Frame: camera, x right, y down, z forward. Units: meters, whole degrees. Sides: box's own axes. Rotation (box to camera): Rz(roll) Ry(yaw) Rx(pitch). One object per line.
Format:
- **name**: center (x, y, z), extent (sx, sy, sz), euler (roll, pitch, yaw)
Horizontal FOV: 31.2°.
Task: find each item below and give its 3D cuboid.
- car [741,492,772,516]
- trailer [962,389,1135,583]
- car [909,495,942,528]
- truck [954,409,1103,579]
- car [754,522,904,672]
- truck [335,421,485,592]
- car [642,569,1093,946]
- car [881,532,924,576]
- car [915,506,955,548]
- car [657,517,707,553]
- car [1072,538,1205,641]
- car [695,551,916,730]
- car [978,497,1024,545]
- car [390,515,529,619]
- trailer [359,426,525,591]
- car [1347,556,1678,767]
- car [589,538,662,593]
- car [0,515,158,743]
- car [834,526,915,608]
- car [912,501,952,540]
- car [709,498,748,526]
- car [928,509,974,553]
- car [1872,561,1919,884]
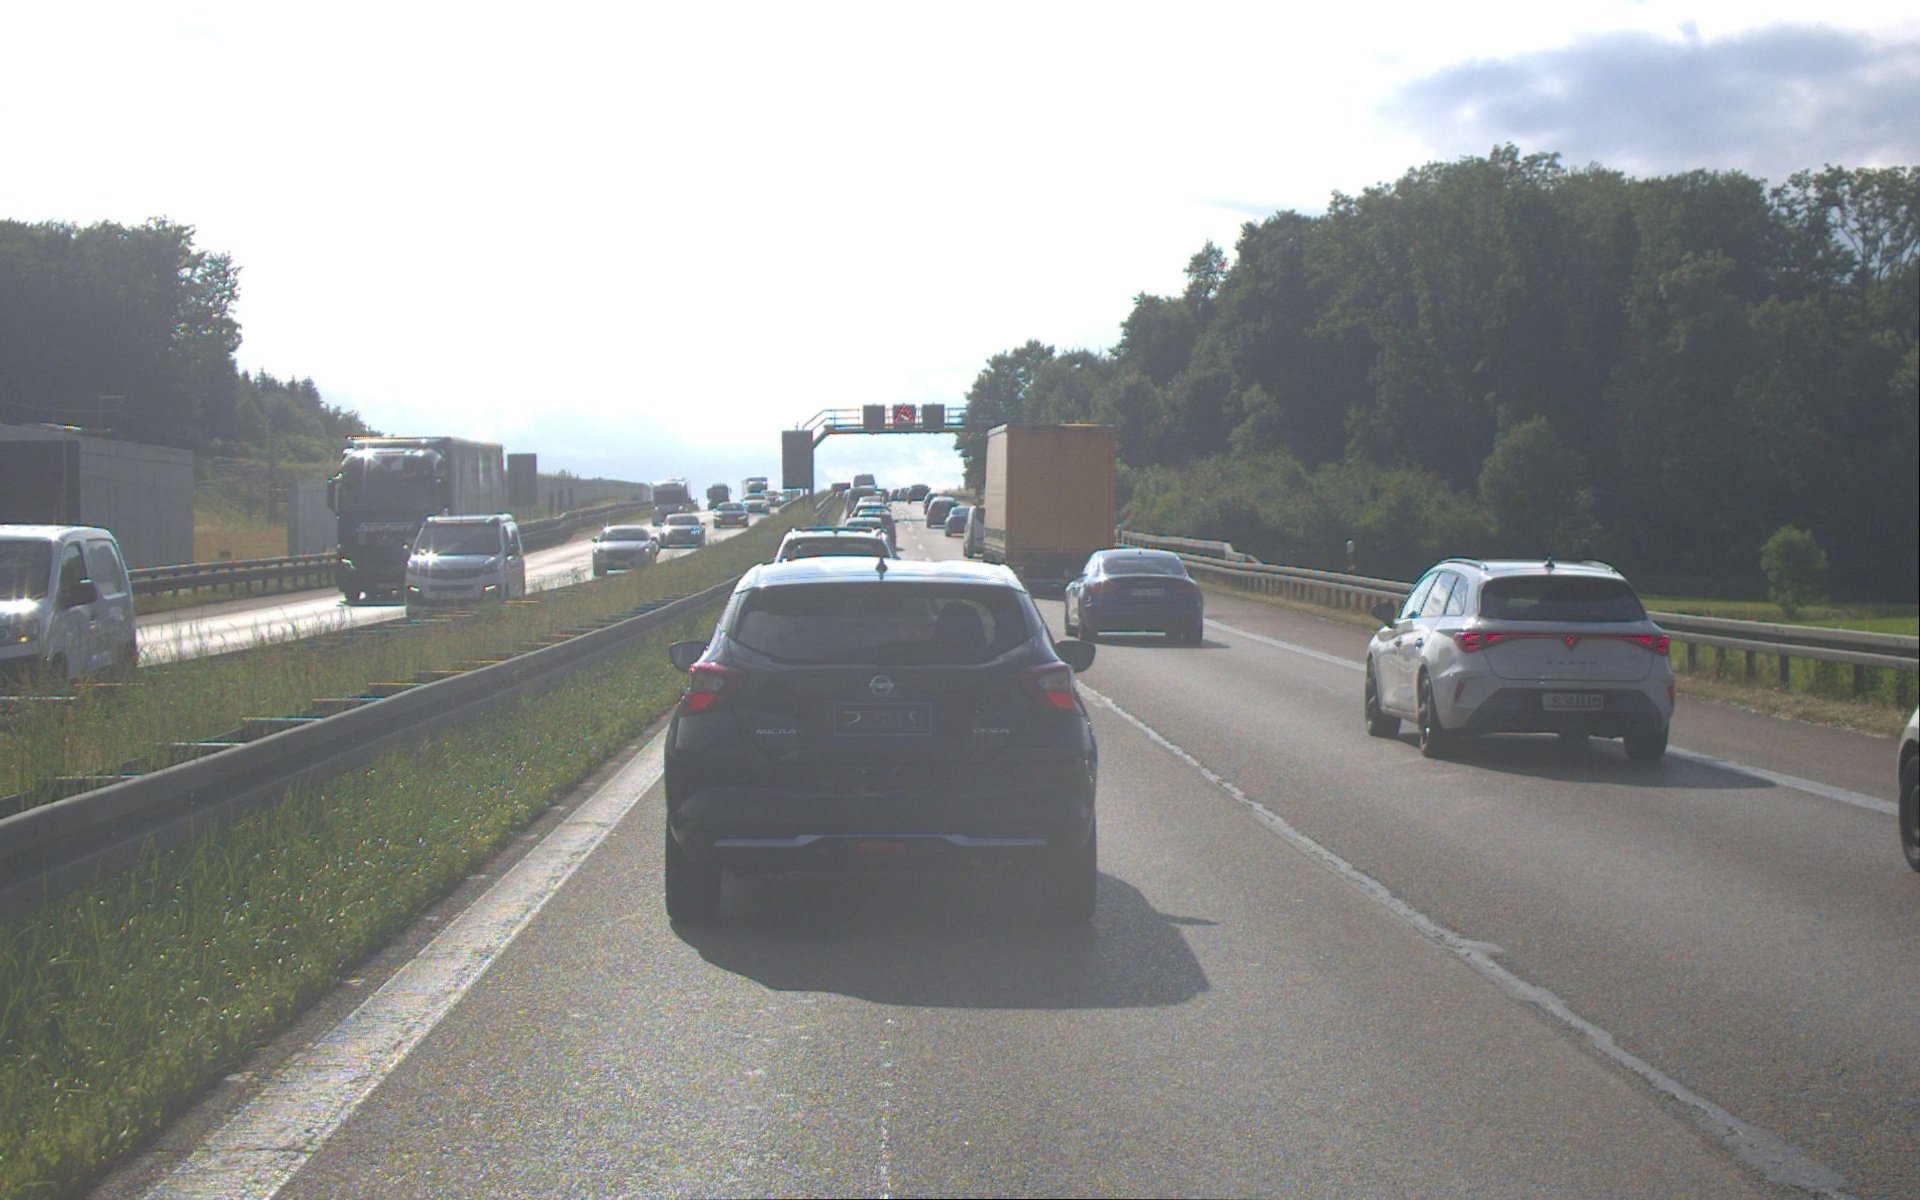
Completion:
- **car**: center (-14.170, -6.680, 239.692), extent (1.993, 1.587, 4.449), euler (1, 0, -2)
- **trailer**: center (2.059, -2.692, 86.137), extent (3.548, 4.442, 12.723), euler (1, 0, -2)
- **car**: center (-2.227, -5.715, 221.505), extent (1.993, 2.007, 4.000), euler (1, 0, -2)
- **truck**: center (1.790, -2.774, 92.869), extent (3.581, 4.365, 6.689), euler (1, 0, -2)
- **car**: center (-1.546, -0.046, 41.599), extent (1.674, 1.720, 3.596), euler (1, 0, 0)
- **truck**: center (-13.624, -2.260, 85.664), extent (2.754, 4.076, 6.953), euler (0, 0, -1)
- **car**: center (-0.346, 0.595, 14.850), extent (1.710, 1.421, 3.378), euler (1, 0, 0)
- **car**: center (-2.346, -1.886, 141.320), extent (1.667, 1.749, 3.327), euler (1, 0, 0)
- **car**: center (-1.059, -3.103, 146.859), extent (1.667, 1.749, 3.327), euler (1, 0, 0)
- **car**: center (-11.838, -2.745, 146.627), extent (1.902, 1.459, 4.184), euler (1, 0, -2)
- **car**: center (2.660, -0.167, 52.007), extent (1.747, 1.470, 4.147), euler (1, 0, 0)
- **car**: center (-1.220, 0.306, 28.444), extent (1.674, 1.362, 3.596), euler (1, 0, 0)
- **car**: center (1.525, -2.945, 128.630), extent (1.667, 1.749, 3.327), euler (1, 0, 0)
- **car**: center (-9.535, -0.625, 65.865), extent (1.993, 1.877, 4.787), euler (-2, 0, -1)
- **trailer**: center (-13.720, -2.313, 92.107), extent (2.759, 4.101, 12.905), euler (0, 0, -1)
- **car**: center (4.066, 0.416, 25.910), extent (1.620, 1.441, 4.147), euler (1, 0, -3)
- **car**: center (-10.422, -1.070, 107.357), extent (1.888, 1.626, 5.111), euler (1, 0, -1)
- **car**: center (-8.348, 0.209, 29.700), extent (1.860, 1.827, 4.281), euler (1, 0, -1)
- **car**: center (-2.200, -0.828, 87.553), extent (1.993, 2.007, 4.000), euler (1, 0, -2)
- **car**: center (-1.502, -4.216, 183.408), extent (1.993, 2.007, 4.000), euler (1, 0, -2)
- **car**: center (-12.705, -4.849, 188.898), extent (1.993, 1.428, 4.449), euler (1, 0, -2)
- **car**: center (-0.433, -3.255, 162.877), extent (1.993, 2.007, 4.000), euler (1, 0, -2)
- **car**: center (5.290, 0.605, 15.015), extent (1.548, 1.490, 3.378), euler (1, 1, -3)
